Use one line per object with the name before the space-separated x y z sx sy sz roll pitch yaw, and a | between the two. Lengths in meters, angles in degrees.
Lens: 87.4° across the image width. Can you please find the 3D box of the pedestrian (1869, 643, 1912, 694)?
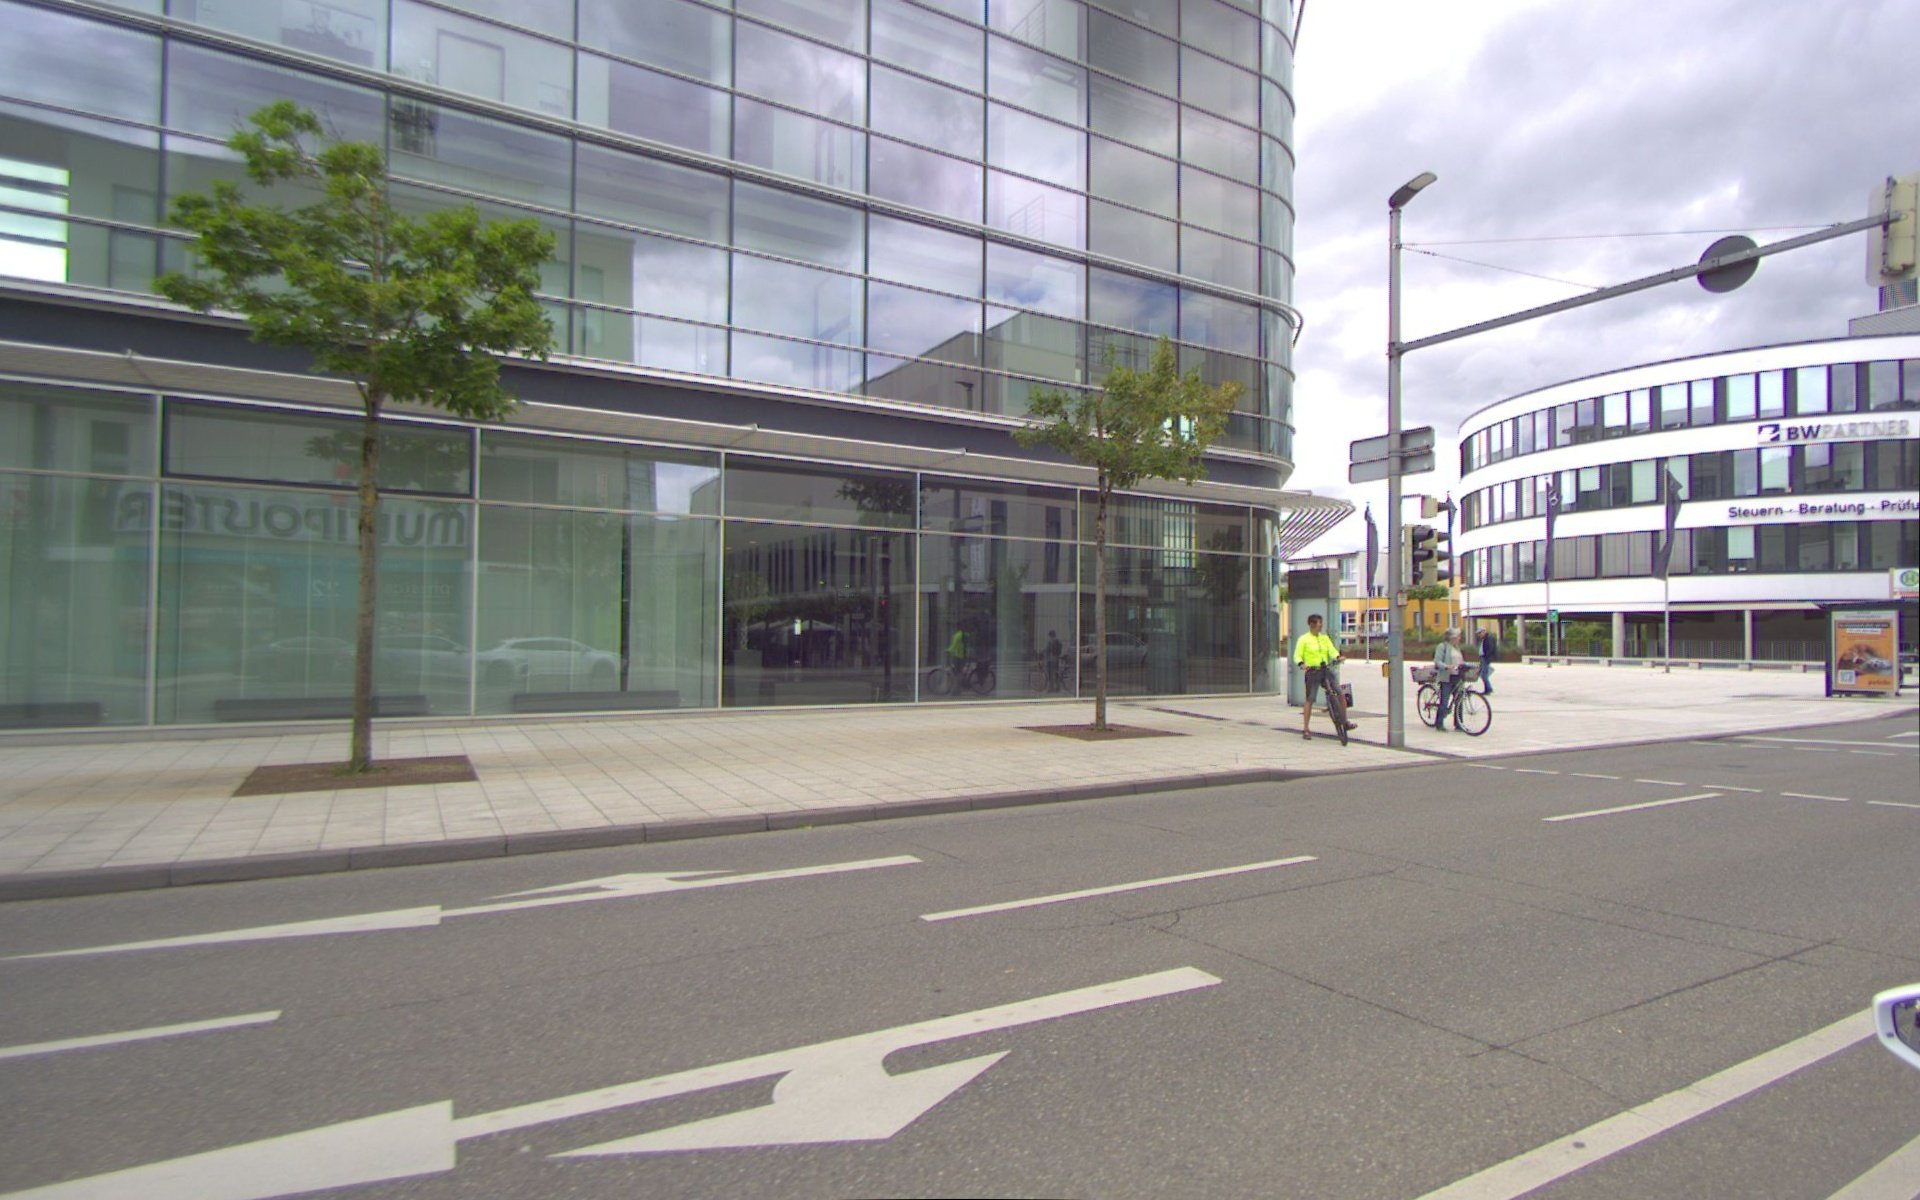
pedestrian | 25.008 1.839 27.006 0.570 1.337 0.681 1 -3 -31

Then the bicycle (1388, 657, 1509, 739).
bicycle | 7.979 1.571 16.520 0.627 1.145 2.000 1 0 -14

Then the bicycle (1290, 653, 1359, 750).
bicycle | 5.423 1.470 15.055 0.732 1.222 2.032 2 0 14

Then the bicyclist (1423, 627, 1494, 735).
bicyclist | 8.059 1.298 16.254 0.627 1.671 0.782 1 0 -15

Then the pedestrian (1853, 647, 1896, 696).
pedestrian | 23.932 1.855 26.288 0.570 1.269 0.681 1 -3 -31

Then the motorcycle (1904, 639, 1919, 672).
motorcycle | 39.938 2.312 41.060 0.627 1.350 1.848 1 0 -26

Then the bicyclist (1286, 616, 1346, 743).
bicyclist | 5.335 1.161 15.077 0.732 1.824 0.774 2 0 14

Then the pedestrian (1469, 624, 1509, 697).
pedestrian | 14.706 1.663 27.937 0.885 1.971 0.750 1 -1 21
